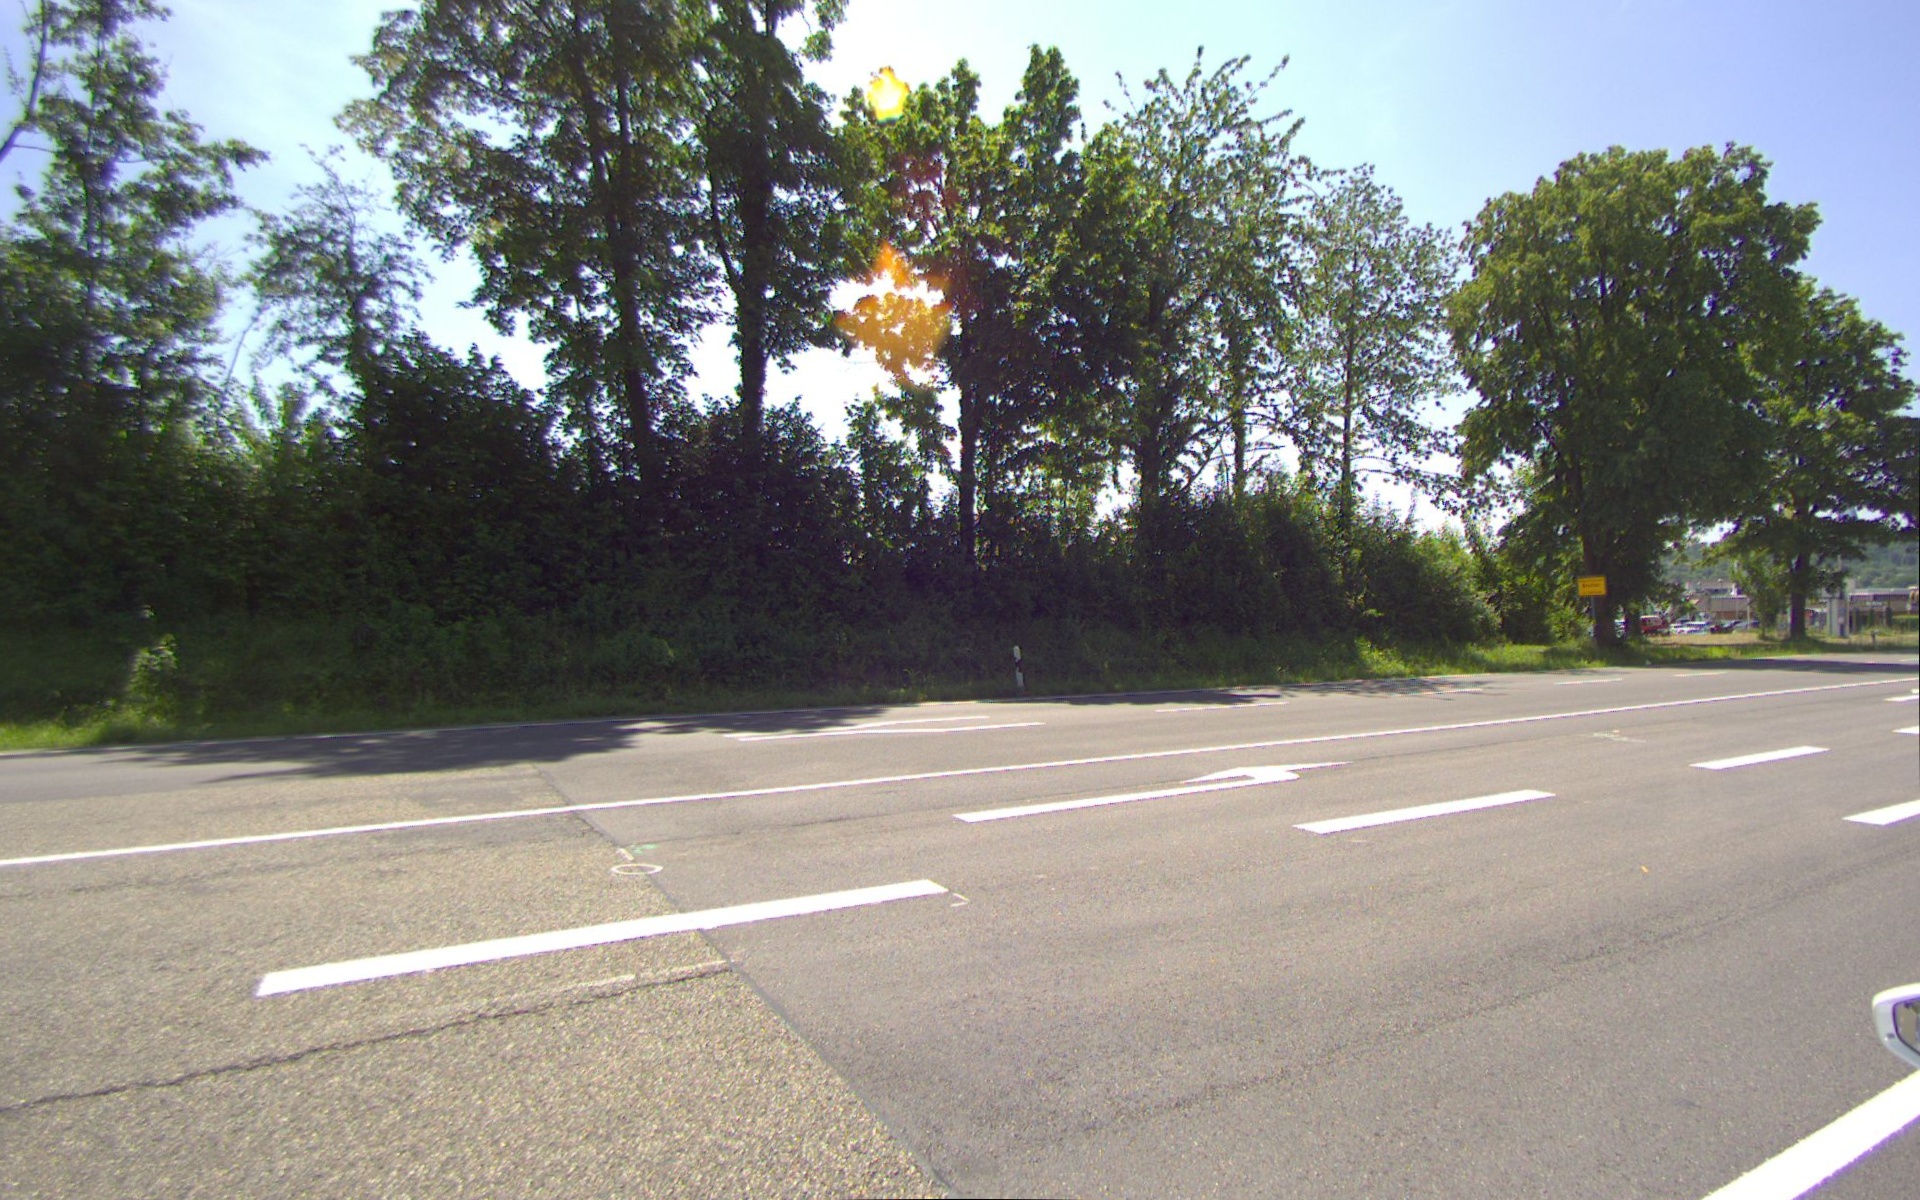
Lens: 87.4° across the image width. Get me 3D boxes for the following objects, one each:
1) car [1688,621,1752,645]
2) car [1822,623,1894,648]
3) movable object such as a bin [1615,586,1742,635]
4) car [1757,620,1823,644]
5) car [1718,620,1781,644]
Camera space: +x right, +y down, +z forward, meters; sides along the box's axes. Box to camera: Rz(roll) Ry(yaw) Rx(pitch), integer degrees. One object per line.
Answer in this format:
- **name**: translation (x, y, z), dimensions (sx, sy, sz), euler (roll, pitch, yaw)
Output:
- **car**: translation (56.779, 2.421, 75.147), dimensions (1.960, 1.673, 4.002), euler (1, 0, 5)
- **car**: translation (64.672, 2.550, 72.404), dimensions (1.803, 1.639, 4.002), euler (1, 0, 5)
- **movable object such as a bin**: translation (50.751, 0.748, 71.133), dimensions (6.654, 3.342, 3.054), euler (0, 0, 8)
- **car**: translation (61.666, 2.363, 74.711), dimensions (1.803, 1.639, 4.002), euler (1, 0, 5)
- **car**: translation (58.973, 2.355, 75.083), dimensions (1.803, 1.639, 4.002), euler (1, 0, 5)
